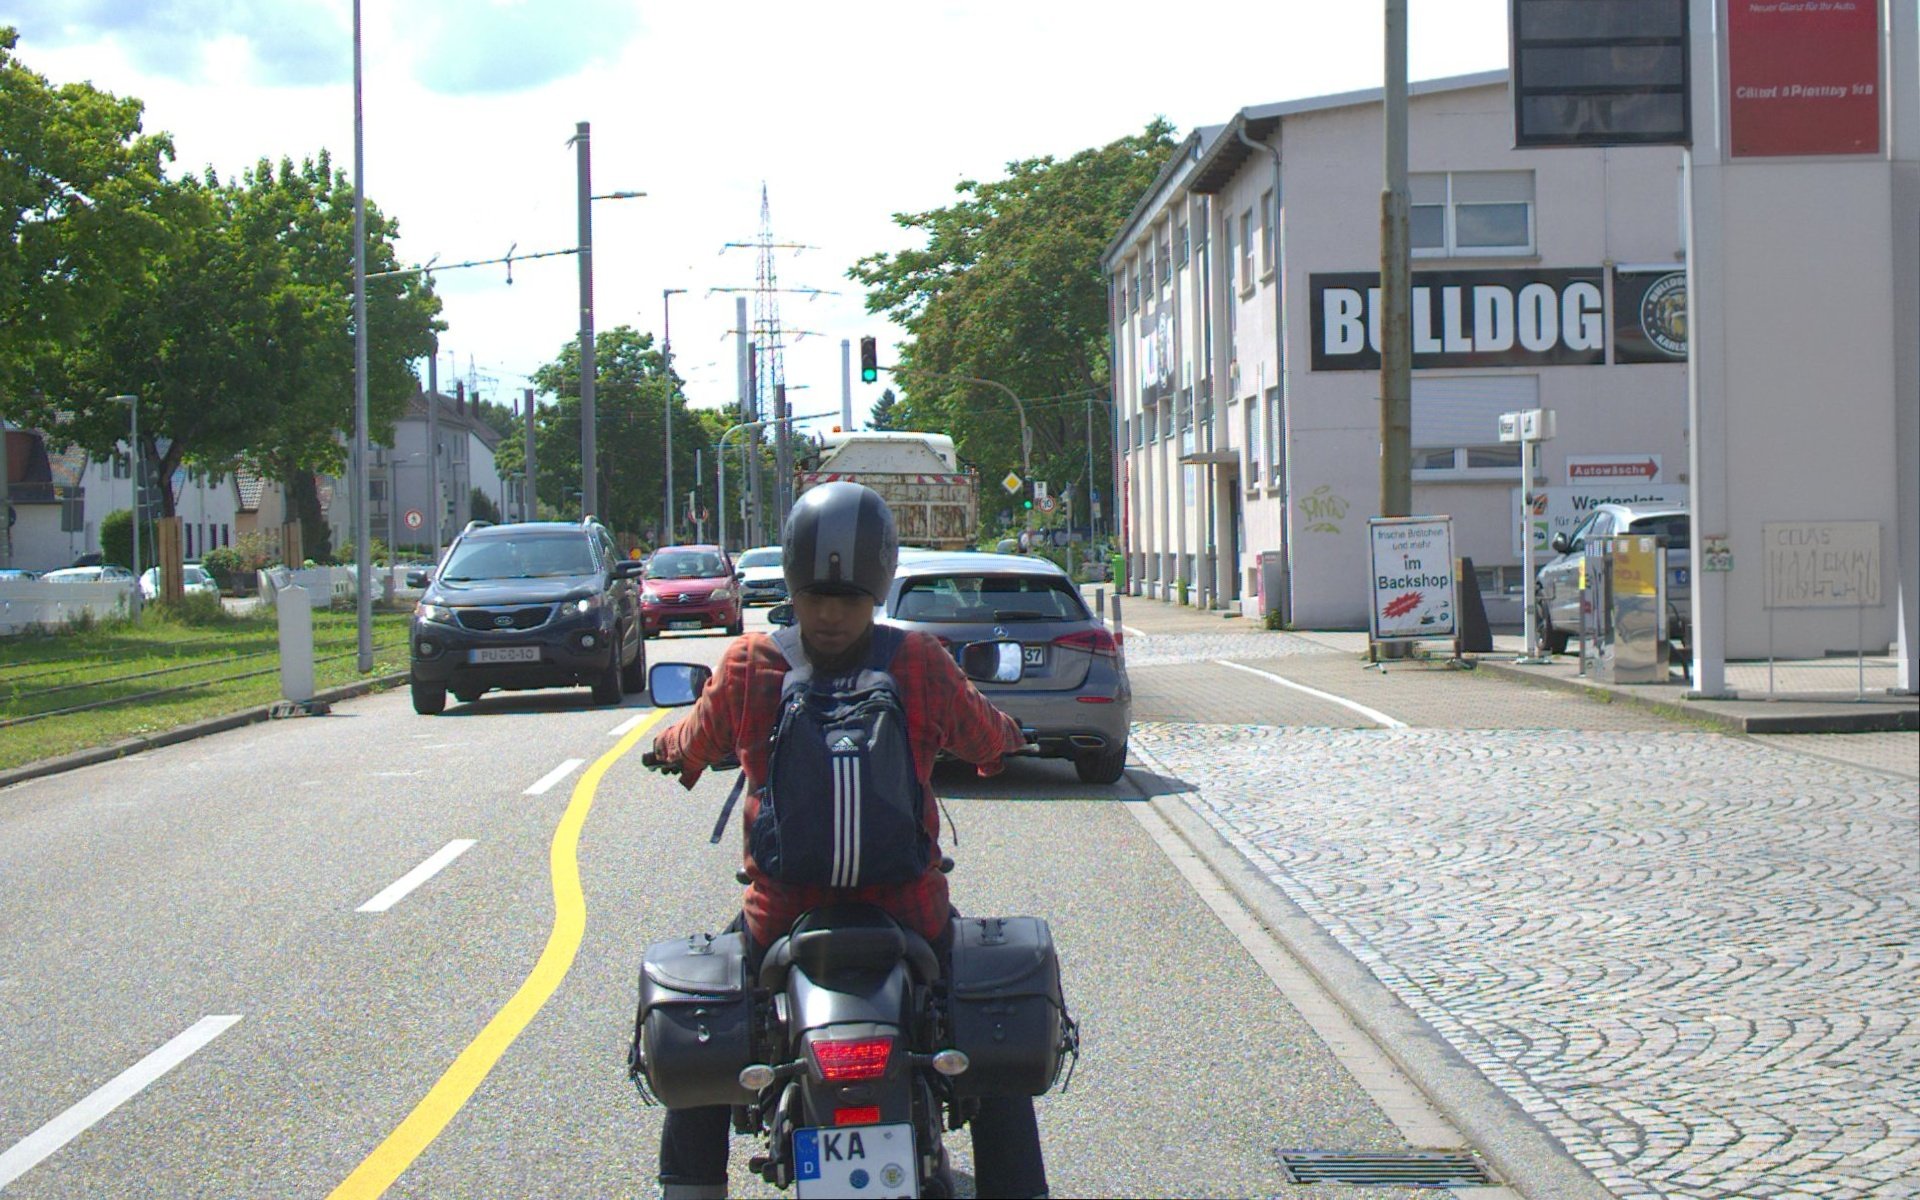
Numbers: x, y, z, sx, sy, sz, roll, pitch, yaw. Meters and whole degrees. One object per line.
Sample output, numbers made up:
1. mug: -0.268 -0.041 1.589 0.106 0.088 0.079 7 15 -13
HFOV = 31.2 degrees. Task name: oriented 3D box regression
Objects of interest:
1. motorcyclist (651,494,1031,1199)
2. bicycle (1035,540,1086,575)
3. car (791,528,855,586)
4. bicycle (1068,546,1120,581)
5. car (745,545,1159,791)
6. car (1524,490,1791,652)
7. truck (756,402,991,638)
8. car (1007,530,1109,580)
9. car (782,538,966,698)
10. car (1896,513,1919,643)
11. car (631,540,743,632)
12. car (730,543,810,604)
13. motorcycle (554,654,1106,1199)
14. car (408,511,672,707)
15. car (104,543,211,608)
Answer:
1. motorcyclist: -0.231 0.602 6.834 0.698 1.599 0.692 1 0 -1
2. bicycle: 3.445 -1.456 117.707 1.708 1.168 0.438 1 0 5
3. car: -4.207 -1.315 106.146 1.824 1.660 4.462 -2 0 -1
4. bicycle: 4.533 -1.237 116.388 1.708 1.168 0.438 1 0 5
5. car: -0.159 0.373 22.130 1.731 1.399 4.088 1 1 -14
6. car: 7.376 -0.327 36.810 1.945 1.619 4.616 0 1 0
7. truck: -1.139 -1.109 50.500 2.967 3.162 7.763 1 0 2
8. car: 3.903 -1.800 136.494 1.802 1.919 3.989 1 0 45
9. car: -0.795 0.133 33.754 1.644 1.439 3.748 1 1 1
10. car: 11.748 -0.265 37.334 1.691 1.466 4.424 -2 0 -3
11. car: -4.489 -0.238 56.883 1.578 1.464 3.720 1 0 -1
12. car: -4.708 -0.661 85.643 1.821 1.440 4.484 -2 0 -2
13. motorcycle: -0.242 0.761 7.192 0.942 1.196 2.472 1 1 -1
14. car: -3.874 0.062 32.354 1.796 1.684 4.221 -1 0 2
15. car: -17.490 -0.535 75.018 1.521 1.349 3.621 1 0 -1
